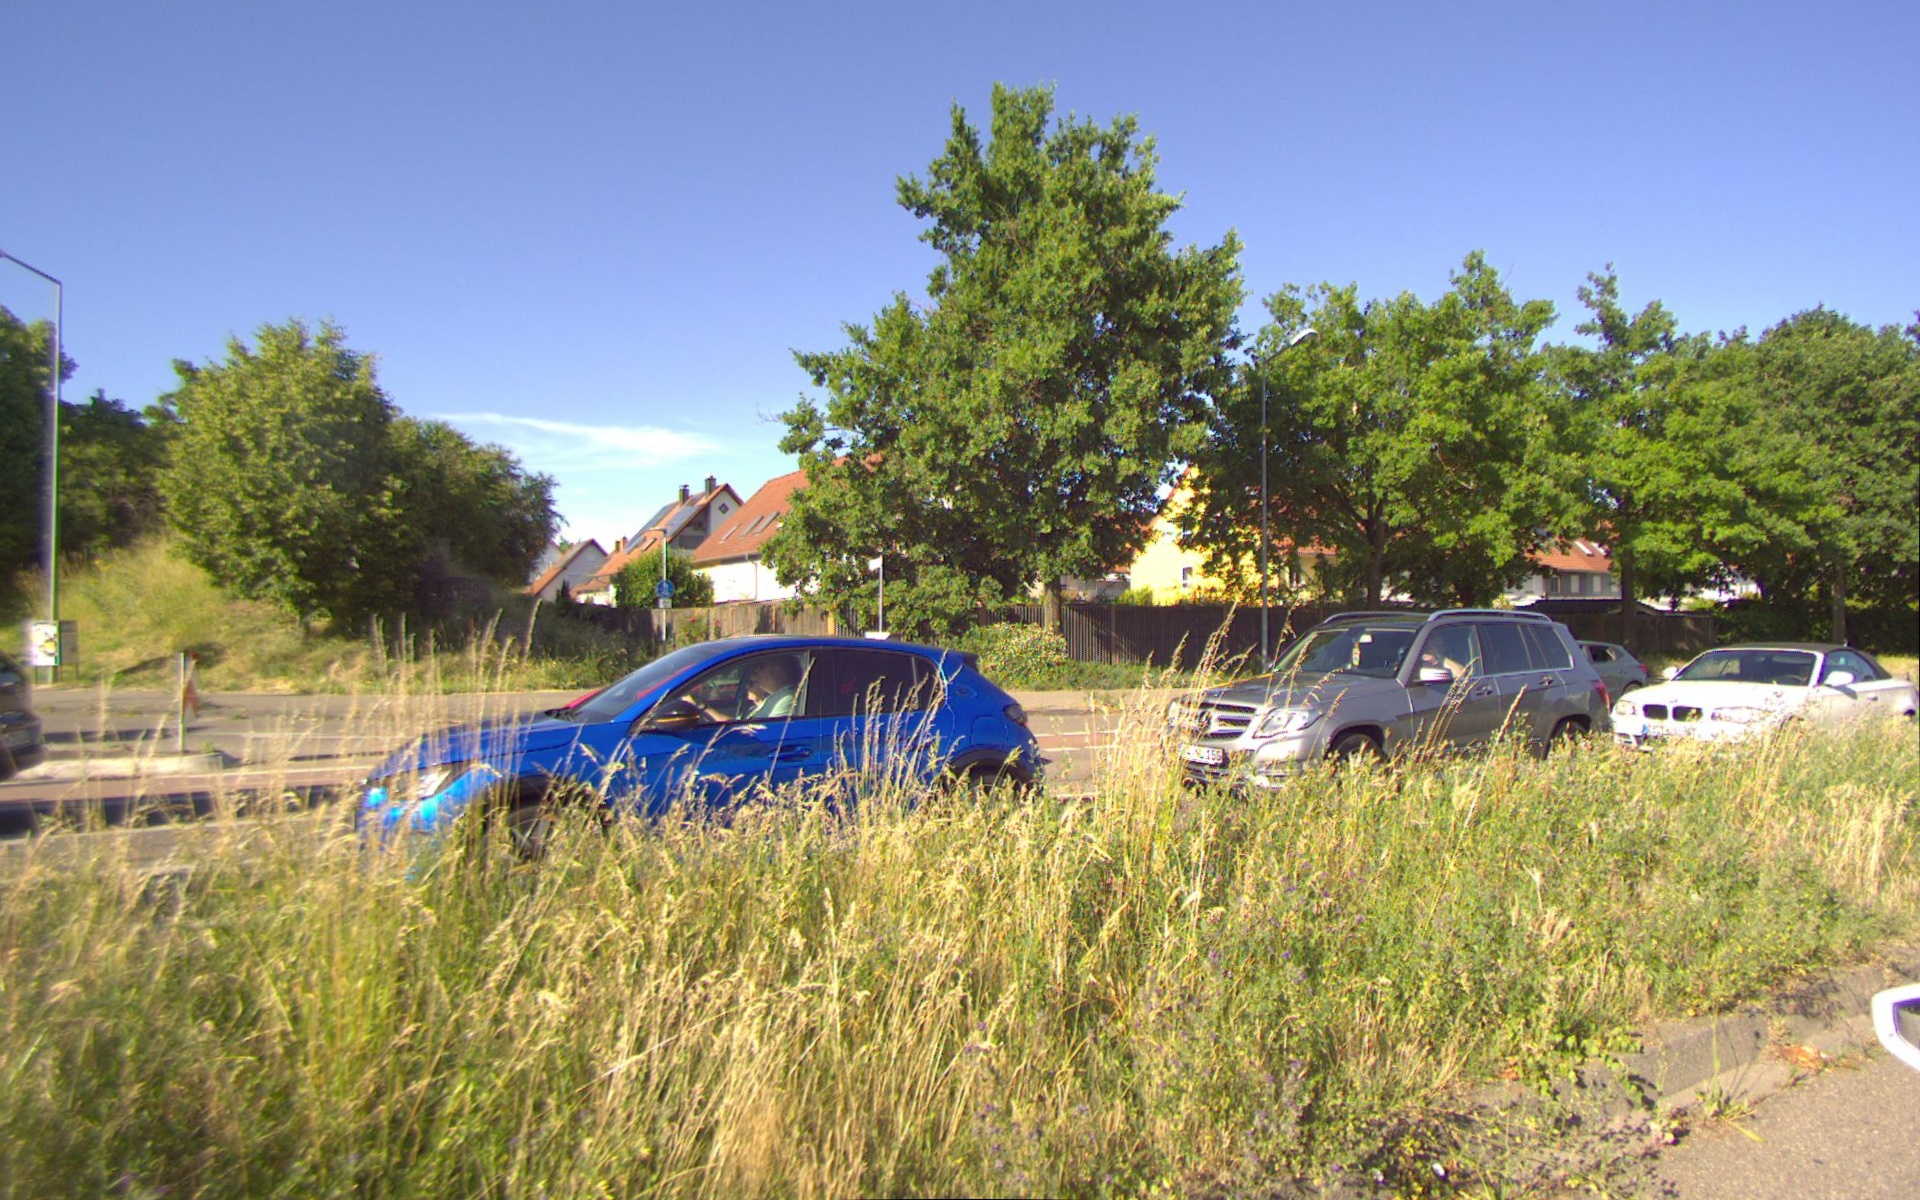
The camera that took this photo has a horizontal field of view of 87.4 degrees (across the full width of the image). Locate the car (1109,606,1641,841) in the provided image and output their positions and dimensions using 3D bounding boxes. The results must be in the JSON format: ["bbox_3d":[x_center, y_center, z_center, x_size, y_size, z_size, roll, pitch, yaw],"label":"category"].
[{"bbox_3d":[3.738,0.920,8.963,4.472,1.637,1.986,1,-2,-27],"label":"car"}]

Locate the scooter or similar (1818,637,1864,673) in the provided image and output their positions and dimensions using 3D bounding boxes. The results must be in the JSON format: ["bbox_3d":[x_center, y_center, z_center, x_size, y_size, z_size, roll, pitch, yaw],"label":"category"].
[{"bbox_3d":[31.649,1.954,36.082,1.389,1.235,0.539,0,1,-14],"label":"scooter or similar"}]

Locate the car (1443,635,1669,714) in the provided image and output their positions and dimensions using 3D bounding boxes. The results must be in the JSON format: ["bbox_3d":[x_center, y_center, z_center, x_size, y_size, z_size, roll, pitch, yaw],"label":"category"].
[{"bbox_3d":[11.805,1.432,19.939,3.937,1.449,1.708,1,-3,-19],"label":"car"}]

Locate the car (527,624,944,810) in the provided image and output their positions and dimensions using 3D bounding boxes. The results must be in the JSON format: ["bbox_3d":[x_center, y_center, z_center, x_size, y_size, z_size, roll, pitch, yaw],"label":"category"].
[{"bbox_3d":[-2.142,0.989,9.693,3.665,1.503,1.640,1,-2,-27],"label":"car"}]

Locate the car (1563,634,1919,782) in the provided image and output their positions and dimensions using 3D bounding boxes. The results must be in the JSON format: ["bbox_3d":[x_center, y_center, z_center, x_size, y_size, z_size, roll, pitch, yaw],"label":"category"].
[{"bbox_3d":[9.521,1.149,12.010,4.343,1.469,1.986,1,-2,-27],"label":"car"}]

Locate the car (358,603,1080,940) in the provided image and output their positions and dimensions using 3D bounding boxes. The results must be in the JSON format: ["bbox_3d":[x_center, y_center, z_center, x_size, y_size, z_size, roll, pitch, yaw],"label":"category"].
[{"bbox_3d":[-1.349,0.811,6.142,3.837,1.503,1.741,1,-2,-27],"label":"car"}]

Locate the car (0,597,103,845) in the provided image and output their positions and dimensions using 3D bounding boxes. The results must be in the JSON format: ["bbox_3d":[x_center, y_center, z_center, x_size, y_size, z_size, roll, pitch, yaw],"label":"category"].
[{"bbox_3d":[-8.850,0.807,6.621,4.471,1.665,1.987,1,-2,-27],"label":"car"}]
